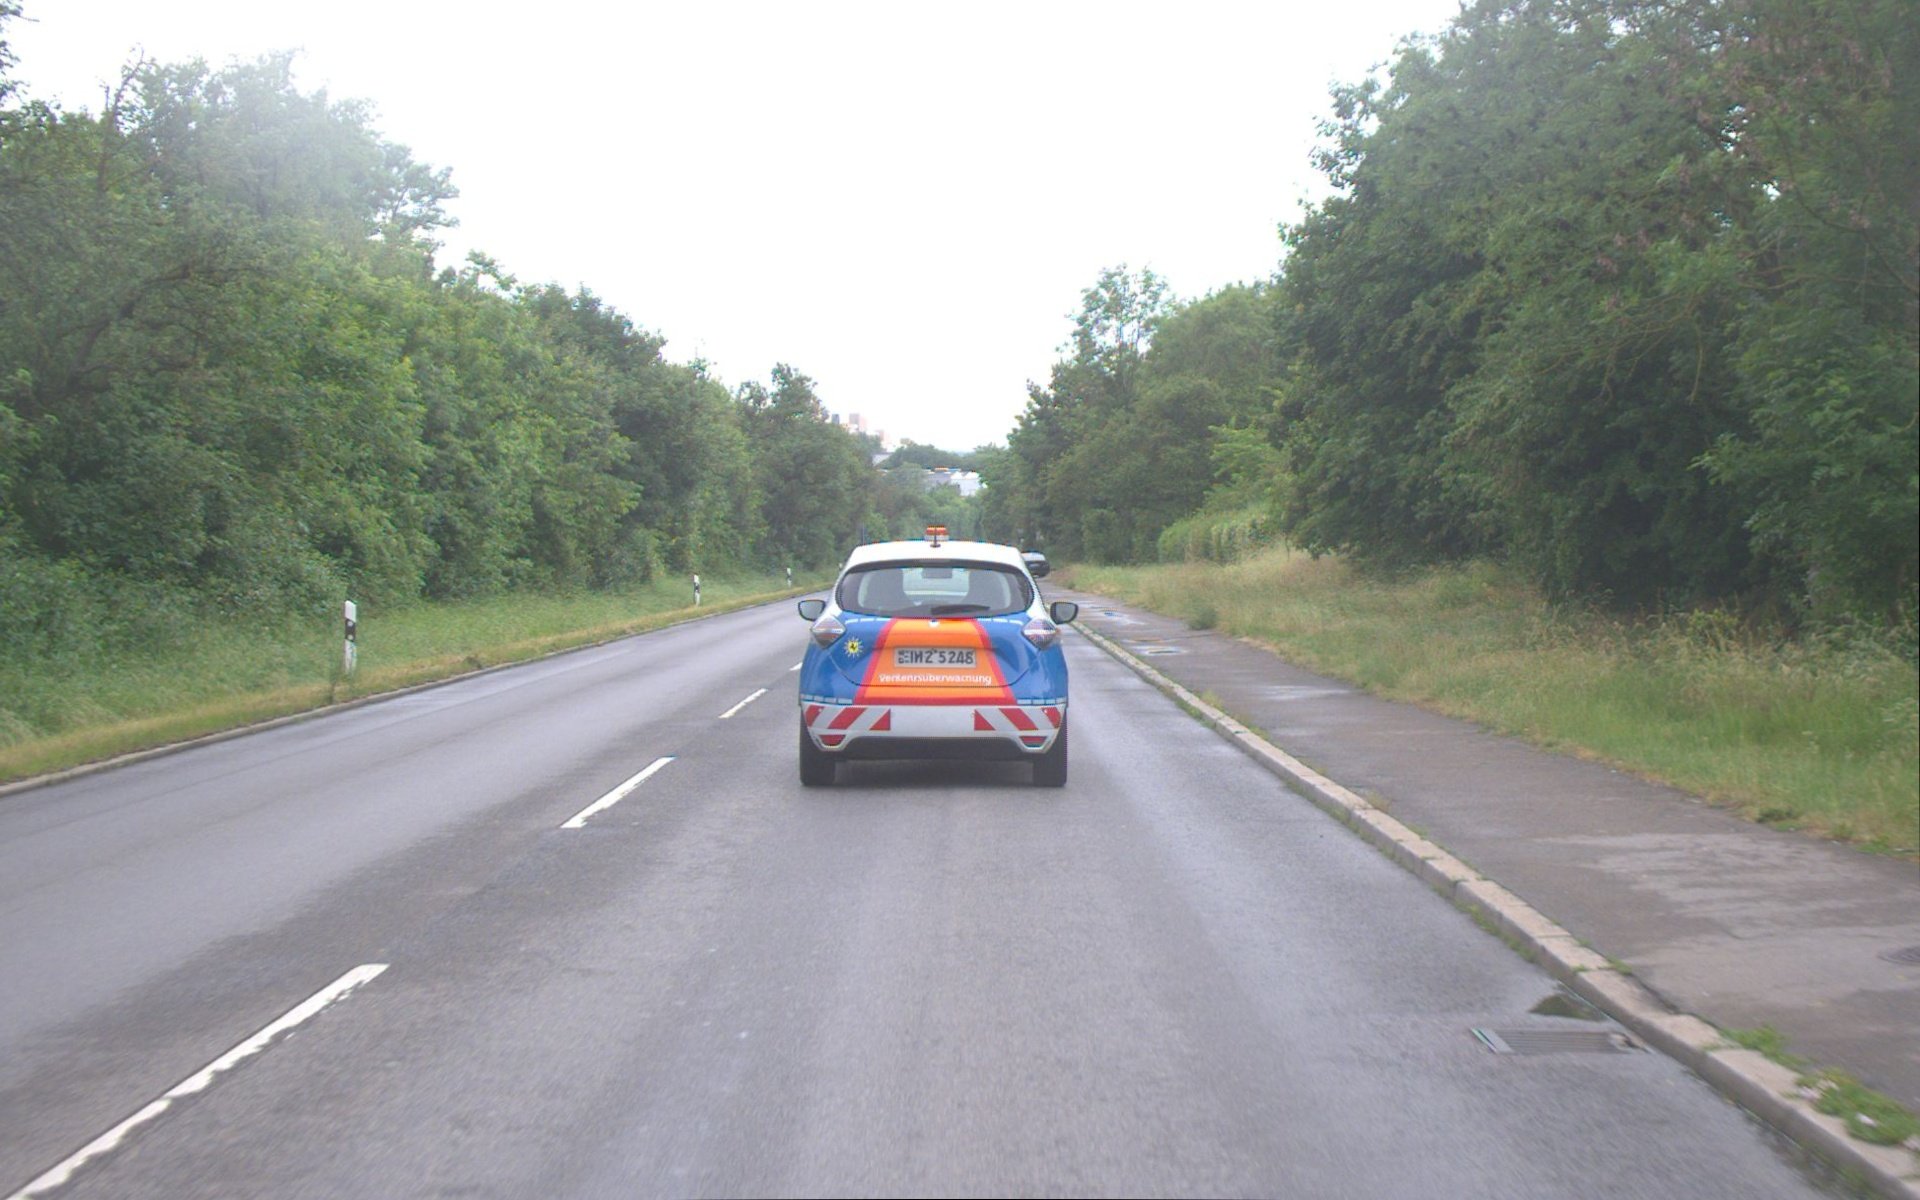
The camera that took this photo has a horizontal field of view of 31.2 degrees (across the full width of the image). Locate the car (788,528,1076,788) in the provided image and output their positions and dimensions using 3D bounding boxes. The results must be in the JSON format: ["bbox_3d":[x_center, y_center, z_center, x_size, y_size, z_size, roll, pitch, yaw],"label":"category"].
[{"bbox_3d":[-0.175,0.316,22.974,1.752,1.550,3.793,0,2,0],"label":"car"}]

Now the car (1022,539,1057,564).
[{"bbox_3d":[4.561,-2.772,197.541,1.993,1.371,4.000,-1,1,1],"label":"car"}]

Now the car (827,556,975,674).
[{"bbox_3d":[-0.654,0.149,40.430,1.598,1.282,3.476,-1,1,1],"label":"car"}]
